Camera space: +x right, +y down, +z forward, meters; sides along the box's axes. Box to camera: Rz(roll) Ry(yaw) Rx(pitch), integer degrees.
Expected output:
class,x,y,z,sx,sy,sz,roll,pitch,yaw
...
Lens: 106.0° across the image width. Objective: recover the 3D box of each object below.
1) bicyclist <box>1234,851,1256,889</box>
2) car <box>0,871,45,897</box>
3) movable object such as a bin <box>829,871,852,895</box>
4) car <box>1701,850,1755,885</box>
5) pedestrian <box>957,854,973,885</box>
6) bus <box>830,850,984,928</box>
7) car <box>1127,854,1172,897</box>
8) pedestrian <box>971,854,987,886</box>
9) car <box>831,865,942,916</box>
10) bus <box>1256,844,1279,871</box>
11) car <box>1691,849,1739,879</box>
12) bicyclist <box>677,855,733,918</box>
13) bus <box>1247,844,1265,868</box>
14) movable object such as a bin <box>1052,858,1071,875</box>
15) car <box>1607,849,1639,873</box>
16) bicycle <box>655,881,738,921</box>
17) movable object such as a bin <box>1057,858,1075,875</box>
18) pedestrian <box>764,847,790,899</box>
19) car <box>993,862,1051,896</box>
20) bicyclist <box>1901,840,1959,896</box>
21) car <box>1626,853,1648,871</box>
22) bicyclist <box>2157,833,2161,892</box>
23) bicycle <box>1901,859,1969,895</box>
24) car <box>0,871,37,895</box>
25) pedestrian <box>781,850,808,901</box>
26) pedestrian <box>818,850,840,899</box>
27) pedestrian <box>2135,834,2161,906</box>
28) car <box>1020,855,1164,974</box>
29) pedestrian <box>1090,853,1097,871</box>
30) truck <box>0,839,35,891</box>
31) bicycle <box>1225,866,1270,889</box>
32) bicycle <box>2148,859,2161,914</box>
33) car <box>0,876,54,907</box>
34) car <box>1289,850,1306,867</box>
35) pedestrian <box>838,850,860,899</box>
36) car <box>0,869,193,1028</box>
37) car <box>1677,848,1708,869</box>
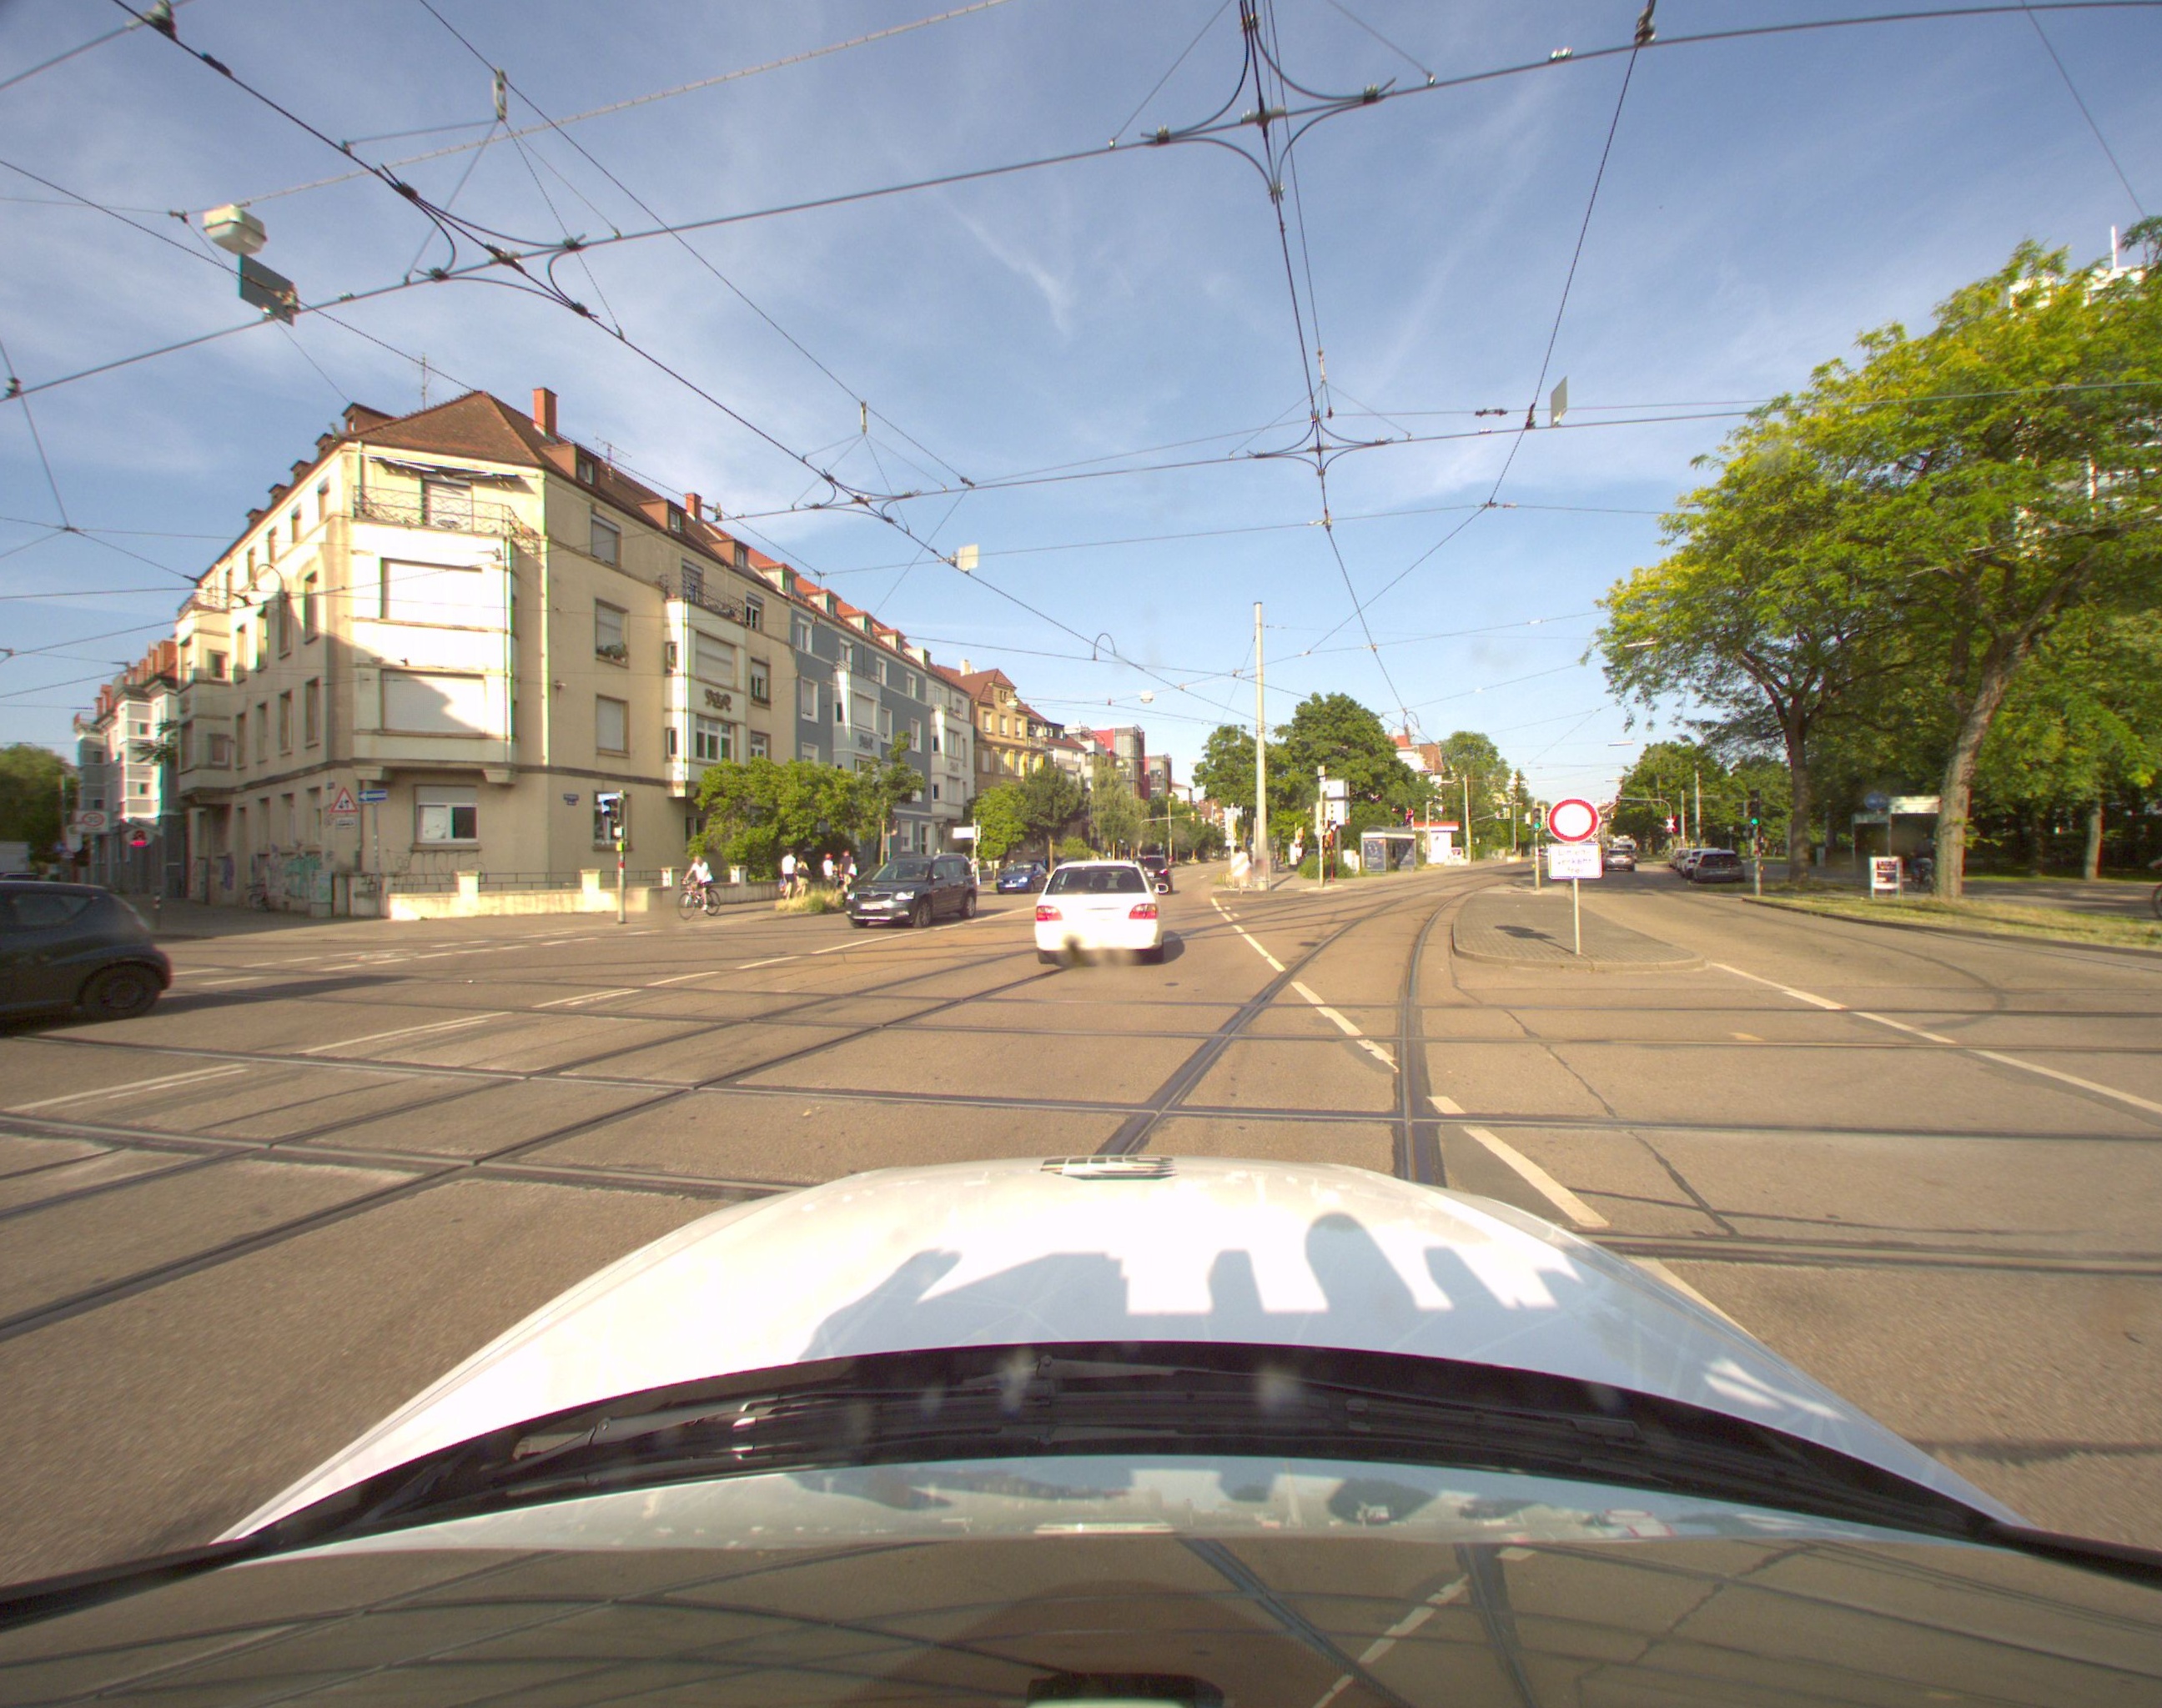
class,x,y,z,sx,sy,sz,roll,pitch,yaw
bicyclist,7.472,0.714,37.184,0.894,1.699,0.734,-2,-1,7
car,-63.922,1.798,48.997,3.948,1.457,1.811,-1,0,36
movable object such as a bin,-9.637,1.171,32.627,0.578,0.947,0.666,-1,-1,17
car,30.347,0.617,38.294,1.835,1.515,4.025,-2,-1,37
pedestrian,-6.579,0.876,46.243,0.634,1.751,0.914,-1,0,11
bus,-3.956,0.742,19.336,1.830,1.636,4.176,-1,0,16
car,2.841,0.838,33.135,1.632,1.600,3.823,1,0,7
pedestrian,-5.777,0.902,46.155,0.634,1.751,0.914,-1,0,11
car,-5.886,1.066,25.165,1.677,1.420,4.015,-1,-1,14
bus,17.447,0.322,76.238,1.787,2.413,4.010,2,-1,9
car,33.495,0.507,43.134,1.835,1.515,4.025,-2,-1,36
bicyclist,-10.279,0.871,22.282,0.753,1.668,1.173,-1,0,23
bus,19.665,0.240,91.744,1.787,2.555,4.010,2,-1,10
movable object such as a bin,-1.675,1.077,70.287,1.597,1.421,1.084,-1,0,0
car,38.291,0.479,57.570,1.817,1.600,3.839,1,0,34
bicycle,-10.376,1.242,22.077,0.762,0.965,2.045,-1,0,23
movable object such as a bin,-1.285,1.102,71.458,1.528,1.421,1.084,-1,0,0
pedestrian,-11.220,0.704,30.098,0.654,1.881,0.628,-1,0,11
car,-2.705,1.126,38.310,1.678,1.441,4.013,-1,0,11
bicyclist,27.212,0.443,26.136,0.714,1.746,1.145,-4,-1,15
car,63.623,0.919,93.231,1.974,2.014,4.025,1,-1,34
bicyclist,21.522,0.441,15.662,0.642,1.746,1.147,-4,-2,38
bicycle,27.190,0.721,25.958,0.636,1.088,1.740,-3,-1,15
car,-68.028,1.805,51.790,3.948,1.457,1.811,-1,0,35
pedestrian,-10.540,0.777,30.016,0.669,1.848,0.652,-1,0,15
pedestrian,-9.848,0.805,31.873,0.580,1.881,0.628,-1,0,11
pedestrian,25.479,0.368,19.110,0.635,1.665,0.694,-1,-1,23
car,0.331,0.790,12.471,1.826,1.501,3.821,1,0,6
pedestrian,1.240,0.788,80.073,0.634,1.751,0.609,-1,0,10
truck,-82.285,0.854,61.700,9.795,3.728,3.277,-1,0,35
bicycle,7.584,1.068,37.172,1.903,0.994,0.728,-2,-1,7
bicycle,21.750,0.668,15.897,0.634,1.088,1.952,-4,-1,39
car,-52.997,1.845,40.750,3.948,1.457,1.811,-1,0,36
car,23.365,0.496,88.080,1.733,1.874,4.016,0,0,15
pedestrian,-9.042,0.803,31.773,0.580,1.881,0.629,-1,0,13
car,-10.852,0.892,7.240,1.622,1.433,3.644,-1,0,16
car,47.062,0.321,62.736,1.835,1.515,4.025,-2,-1,36
